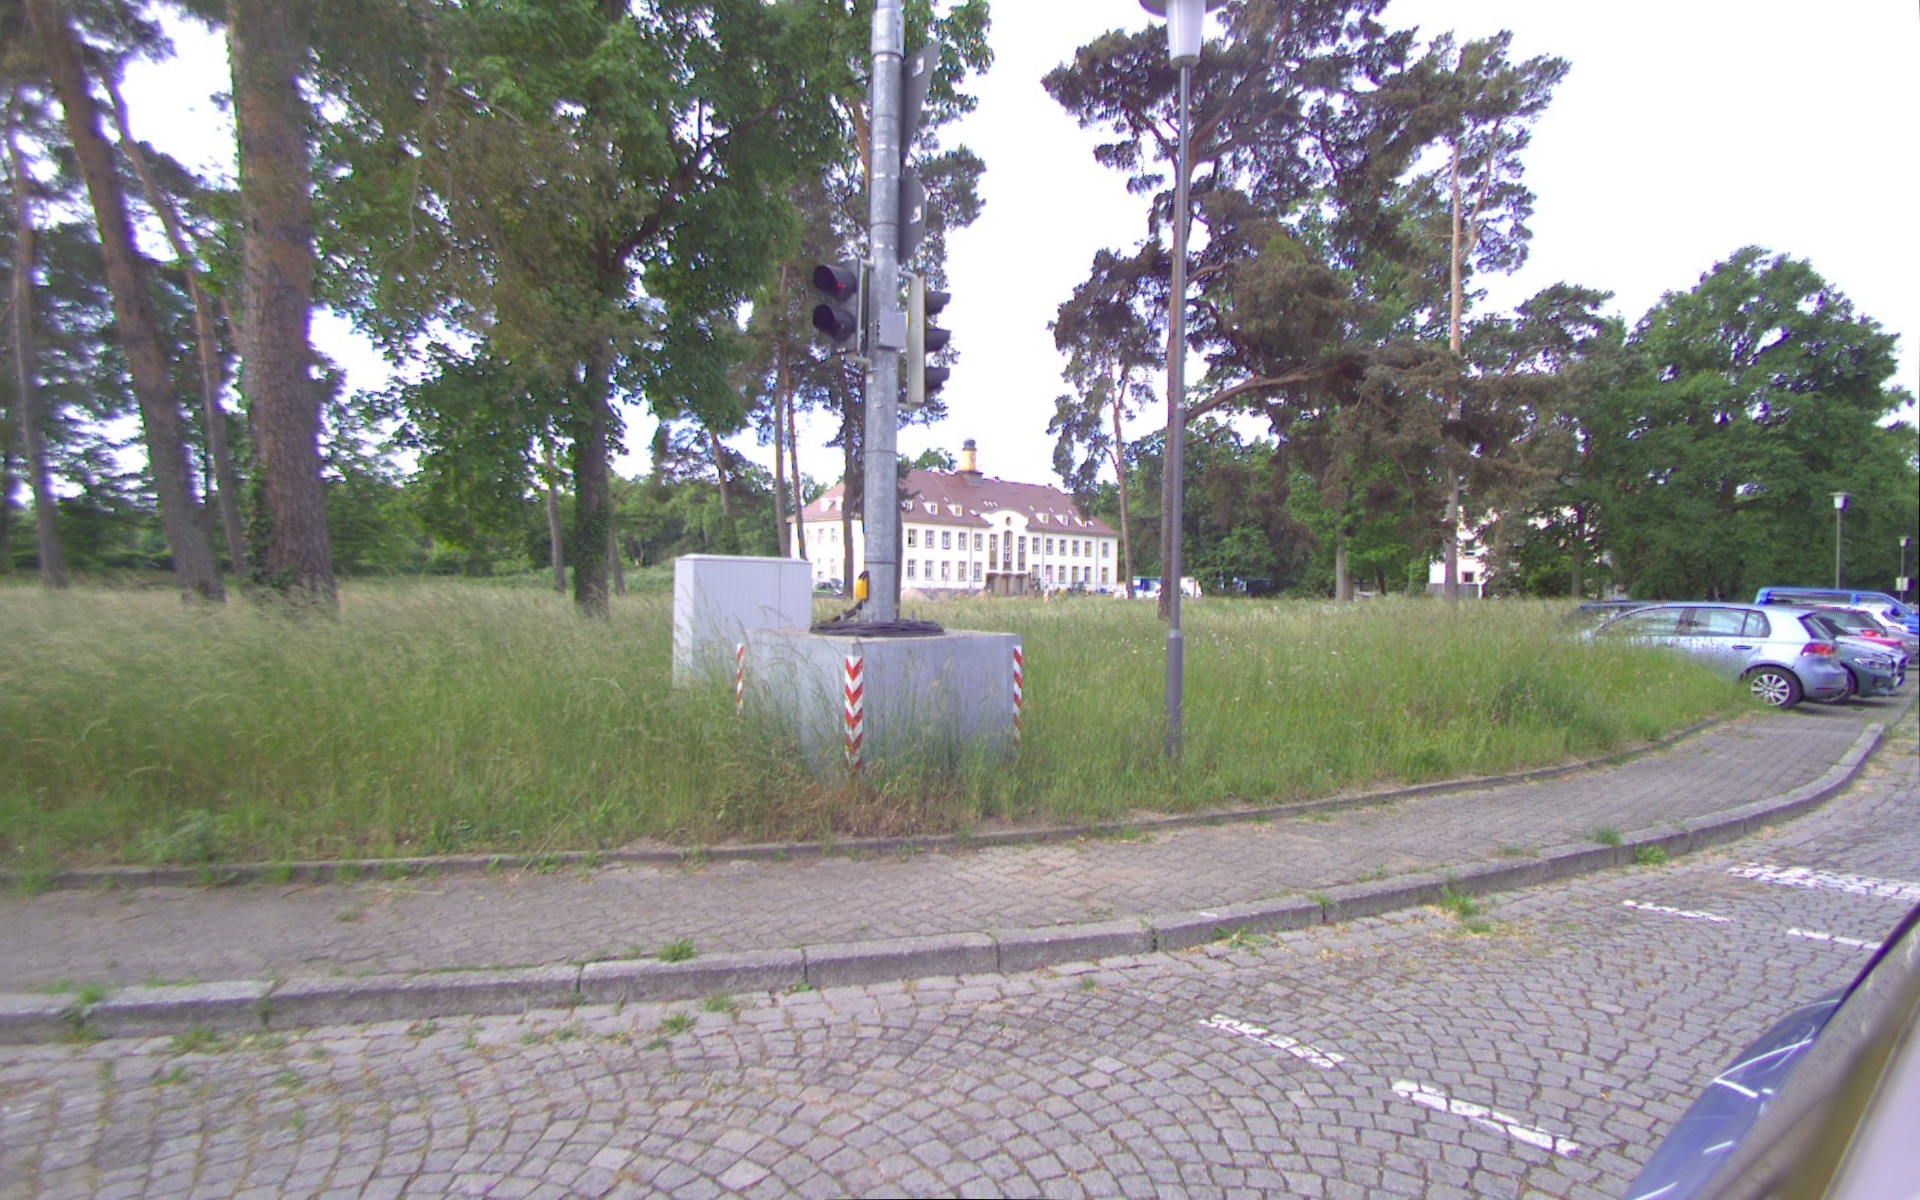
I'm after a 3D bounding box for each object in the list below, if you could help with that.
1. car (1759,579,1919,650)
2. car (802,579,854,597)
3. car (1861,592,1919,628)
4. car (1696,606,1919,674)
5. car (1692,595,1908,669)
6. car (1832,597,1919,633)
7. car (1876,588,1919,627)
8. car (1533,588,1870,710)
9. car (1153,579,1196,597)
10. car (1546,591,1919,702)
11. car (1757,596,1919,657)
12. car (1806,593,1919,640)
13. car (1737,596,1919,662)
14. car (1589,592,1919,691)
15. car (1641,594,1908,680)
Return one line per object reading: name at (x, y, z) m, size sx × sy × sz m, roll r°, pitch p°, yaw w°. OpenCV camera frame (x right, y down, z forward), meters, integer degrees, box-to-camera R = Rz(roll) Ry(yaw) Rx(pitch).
car at (27.827, 0.415, 31.197) m, size 1.967 × 1.963 × 4.743 m, roll 0°, pitch 2°, yaw -43°
car at (-15.118, -1.420, 115.860) m, size 6.164 × 1.882 × 2.307 m, roll 2°, pitch 1°, yaw 38°
car at (48.639, 0.512, 51.441) m, size 1.966 × 1.784 × 4.004 m, roll 0°, pitch 1°, yaw -42°
car at (18.102, 0.794, 21.631) m, size 1.469 × 1.222 × 3.596 m, roll 1°, pitch 1°, yaw -42°
car at (19.711, 0.687, 23.843) m, size 1.770 × 1.524 × 3.779 m, roll 0°, pitch 1°, yaw -45°
car at (41.207, 0.653, 44.633) m, size 1.966 × 1.549 × 3.991 m, roll 0°, pitch 0°, yaw -43°
car at (51.925, 0.415, 54.256) m, size 1.966 × 2.039 × 3.993 m, roll 0°, pitch 1°, yaw -42°
car at (10.830, 0.621, 14.968) m, size 1.579 × 1.444 × 3.768 m, roll 1°, pitch 2°, yaw -43°
car at (24.719, -1.377, 116.647) m, size 5.132 × 2.039 × 2.152 m, roll 0°, pitch 1°, yaw -41°
car at (12.661, 0.655, 16.832) m, size 4.758 × 1.501 × 1.734 m, roll 2°, pitch 1°, yaw 44°
car at (23.966, 0.662, 27.512) m, size 1.609 × 1.470 × 3.405 m, roll 0°, pitch 1°, yaw -42°
car at (34.033, 0.590, 37.431) m, size 1.966 × 1.630 × 3.992 m, roll 0°, pitch 1°, yaw -43°
car at (22.118, 0.671, 25.420) m, size 1.788 × 1.474 × 3.847 m, roll 0°, pitch 1°, yaw -40°
car at (14.675, 0.662, 18.809) m, size 1.782 × 1.501 × 4.763 m, roll 0°, pitch 1°, yaw -43°
car at (16.272, 0.658, 20.358) m, size 1.769 × 1.470 × 3.967 m, roll 0°, pitch 1°, yaw -43°
